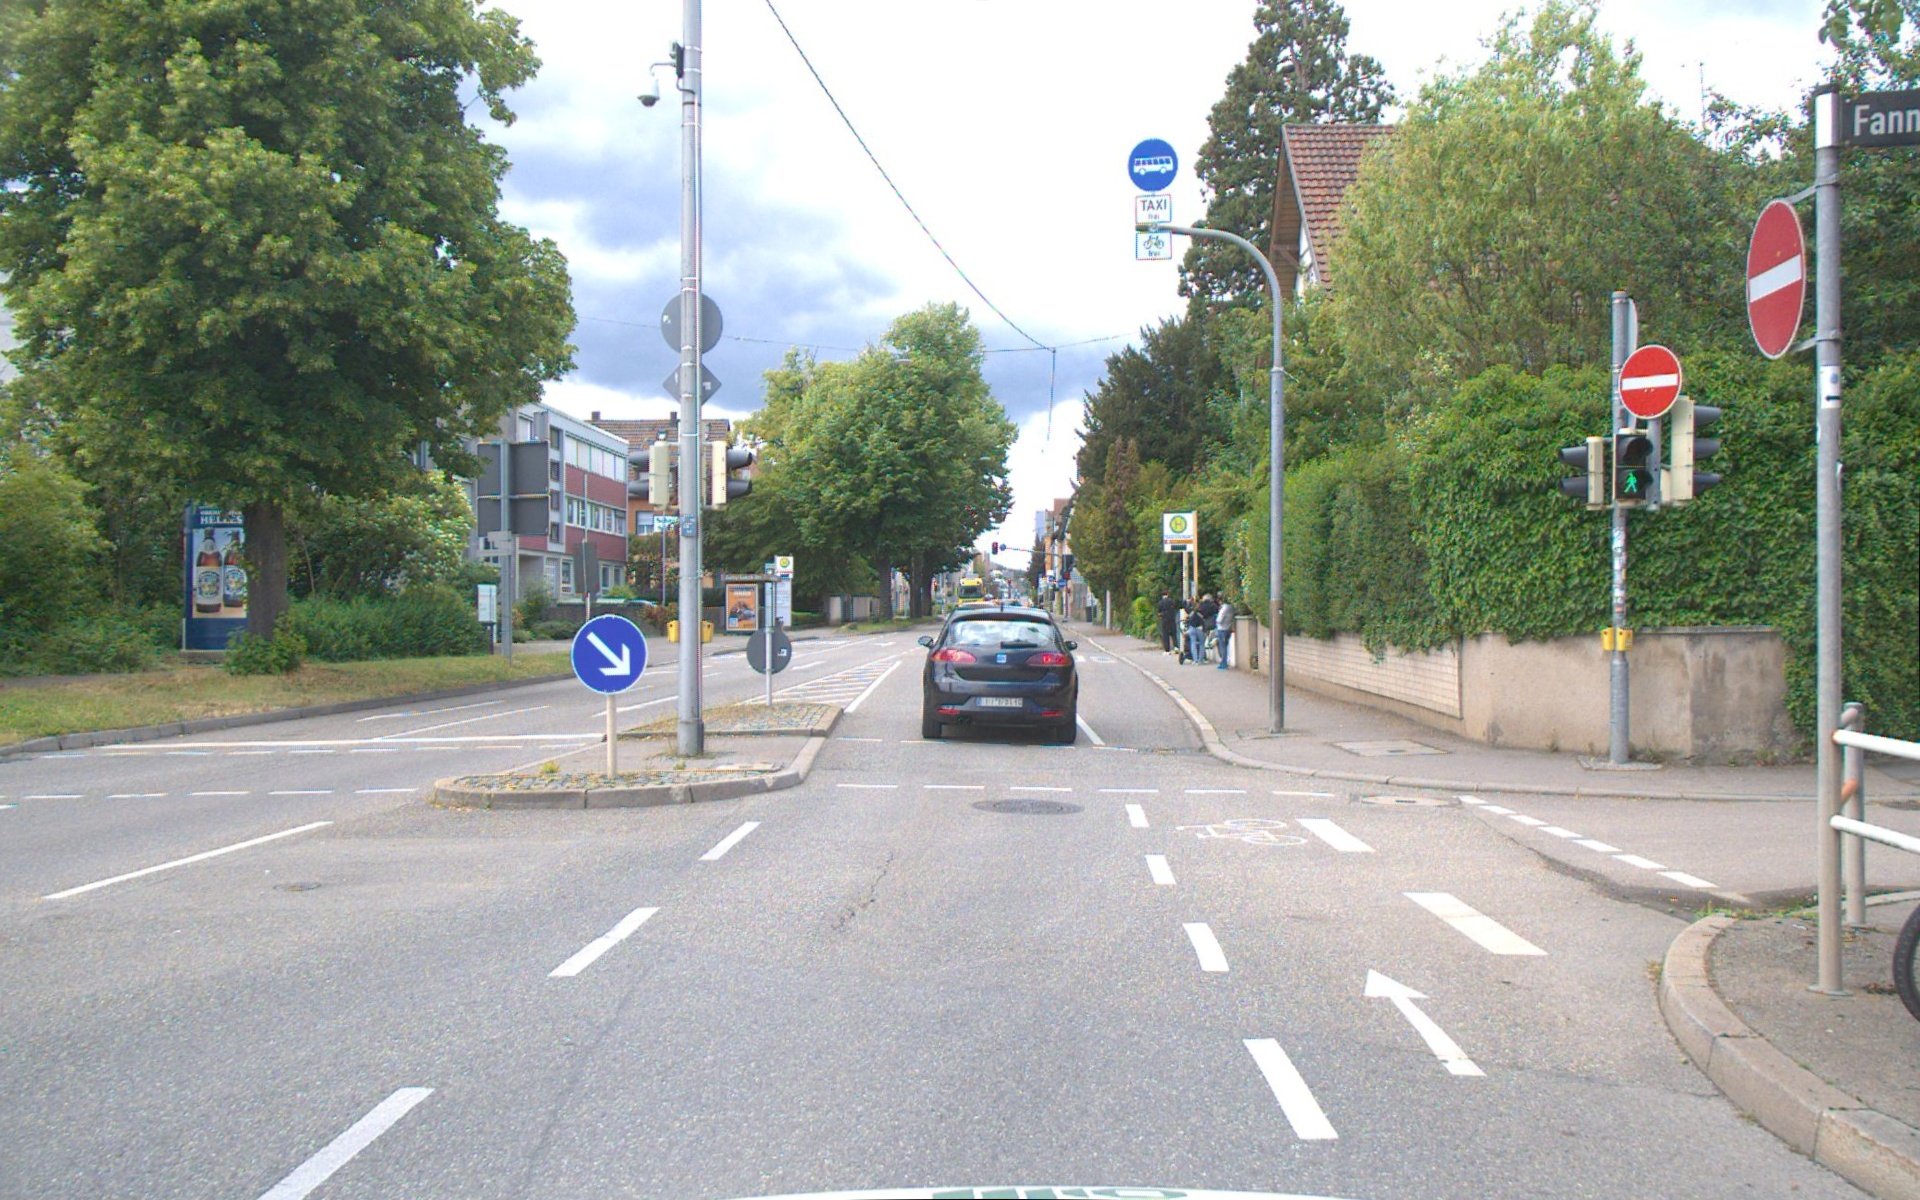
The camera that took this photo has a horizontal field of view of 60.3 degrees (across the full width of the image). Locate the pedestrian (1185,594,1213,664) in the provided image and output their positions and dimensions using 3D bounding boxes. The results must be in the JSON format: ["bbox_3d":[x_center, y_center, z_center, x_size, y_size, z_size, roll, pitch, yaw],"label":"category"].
[{"bbox_3d":[5.387,0.654,37.312,0.538,1.543,0.362,-3,1,10],"label":"pedestrian"}]

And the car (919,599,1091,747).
[{"bbox_3d":[0.426,0.764,19.134,1.724,1.474,3.713,2,0,-2],"label":"car"}]

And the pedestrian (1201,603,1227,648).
[{"bbox_3d":[5.757,0.565,37.463,0.445,0.981,0.383,-4,0,-5],"label":"pedestrian"}]

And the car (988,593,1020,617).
[{"bbox_3d":[3.283,0.355,122.098,1.951,1.713,4.003,0,0,7],"label":"car"}]

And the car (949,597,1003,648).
[{"bbox_3d":[0.611,0.778,60.001,1.781,1.729,4.254,-1,0,3],"label":"car"}]

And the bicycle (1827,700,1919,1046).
[{"bbox_3d":[3.314,0.871,4.967,0.615,1.046,1.504,0,0,-1],"label":"bicycle"}]

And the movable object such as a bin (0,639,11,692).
[{"bbox_3d":[-15.147,1.021,25.388,0.642,0.812,0.897,0,0,-1],"label":"movable object such as a bin"}]

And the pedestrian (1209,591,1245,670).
[{"bbox_3d":[5.530,0.629,34.246,0.533,1.582,0.470,-4,0,-7],"label":"pedestrian"}]

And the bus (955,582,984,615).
[{"bbox_3d":[0.943,-0.205,164.202,2.809,3.191,6.398,0,0,1],"label":"bus"}]

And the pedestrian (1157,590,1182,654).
[{"bbox_3d":[5.762,0.604,45.498,0.573,1.741,0.529,-2,0,0],"label":"pedestrian"}]

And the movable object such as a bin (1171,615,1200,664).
[{"bbox_3d":[5.211,0.901,38.182,0.432,1.076,0.567,-3,0,27],"label":"movable object such as a bin"}]

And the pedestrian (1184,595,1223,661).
[{"bbox_3d":[5.755,0.649,39.114,0.764,1.526,0.604,-2,0,-4],"label":"pedestrian"}]

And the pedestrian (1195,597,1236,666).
[{"bbox_3d":[5.520,0.682,35.698,0.609,1.452,0.510,-3,1,40],"label":"pedestrian"}]

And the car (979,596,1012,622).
[{"bbox_3d":[2.157,0.544,101.221,1.902,1.507,4.252,-1,0,-1],"label":"car"}]
